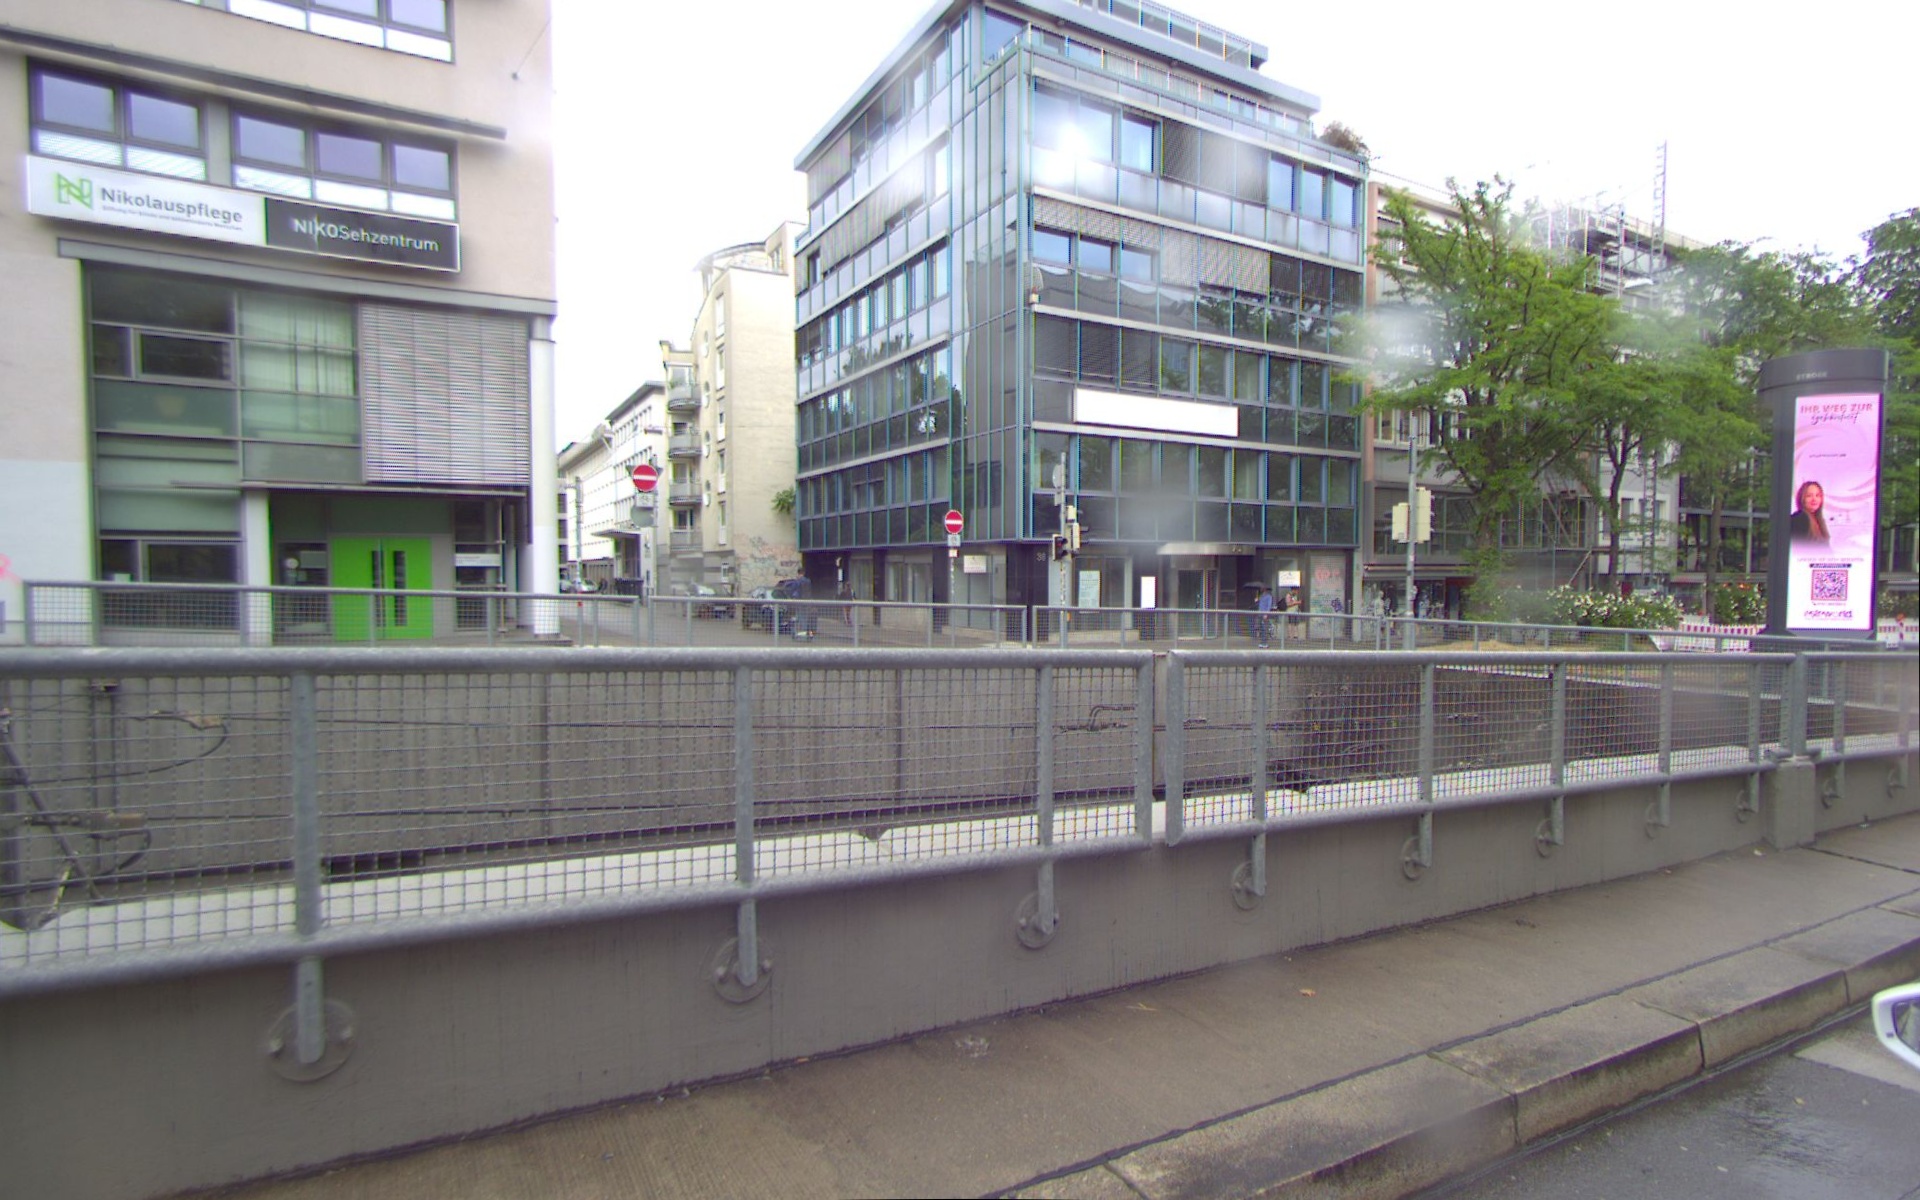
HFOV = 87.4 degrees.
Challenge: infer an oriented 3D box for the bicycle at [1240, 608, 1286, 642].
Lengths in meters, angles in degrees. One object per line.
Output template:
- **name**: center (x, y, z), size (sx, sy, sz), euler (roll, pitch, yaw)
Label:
- **bicycle**: center (9.871, 0.814, 32.730), size (1.544, 1.100, 0.444), euler (1, 1, -27)

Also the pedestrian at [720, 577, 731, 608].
- **pedestrian**: center (-12.450, -0.390, 53.265), size (0.443, 1.664, 0.326), euler (1, 2, -35)

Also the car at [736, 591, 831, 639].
- **car**: center (-6.239, 0.492, 35.177), size (1.977, 1.578, 3.966), euler (1, 0, -31)

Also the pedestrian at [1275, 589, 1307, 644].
- **pedestrian**: center (10.951, 0.535, 33.237), size (0.688, 1.765, 0.691), euler (1, 2, -36)

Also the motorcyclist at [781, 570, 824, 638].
- **motorcyclist**: center (-4.360, 0.094, 27.788), size (0.850, 1.832, 1.007), euler (1, 2, -29)

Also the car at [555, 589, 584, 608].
- **car**: center (-34.237, -0.152, 87.945), size (1.777, 1.578, 3.967), euler (1, 0, -30)

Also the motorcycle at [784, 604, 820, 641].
- **motorcycle**: center (-4.377, 0.620, 27.796), size (0.696, 0.984, 0.977), euler (1, 2, -29)

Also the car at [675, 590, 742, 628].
- **car**: center (-11.104, 0.351, 44.115), size (1.777, 1.578, 3.966), euler (1, 0, -31)

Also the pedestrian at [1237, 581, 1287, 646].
- **pedestrian**: center (8.909, 0.405, 29.652), size (1.047, 1.863, 0.853), euler (1, 2, -30)

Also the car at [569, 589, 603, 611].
- **car**: center (-28.276, -0.027, 75.934), size (1.777, 1.578, 3.967), euler (1, 0, -30)
